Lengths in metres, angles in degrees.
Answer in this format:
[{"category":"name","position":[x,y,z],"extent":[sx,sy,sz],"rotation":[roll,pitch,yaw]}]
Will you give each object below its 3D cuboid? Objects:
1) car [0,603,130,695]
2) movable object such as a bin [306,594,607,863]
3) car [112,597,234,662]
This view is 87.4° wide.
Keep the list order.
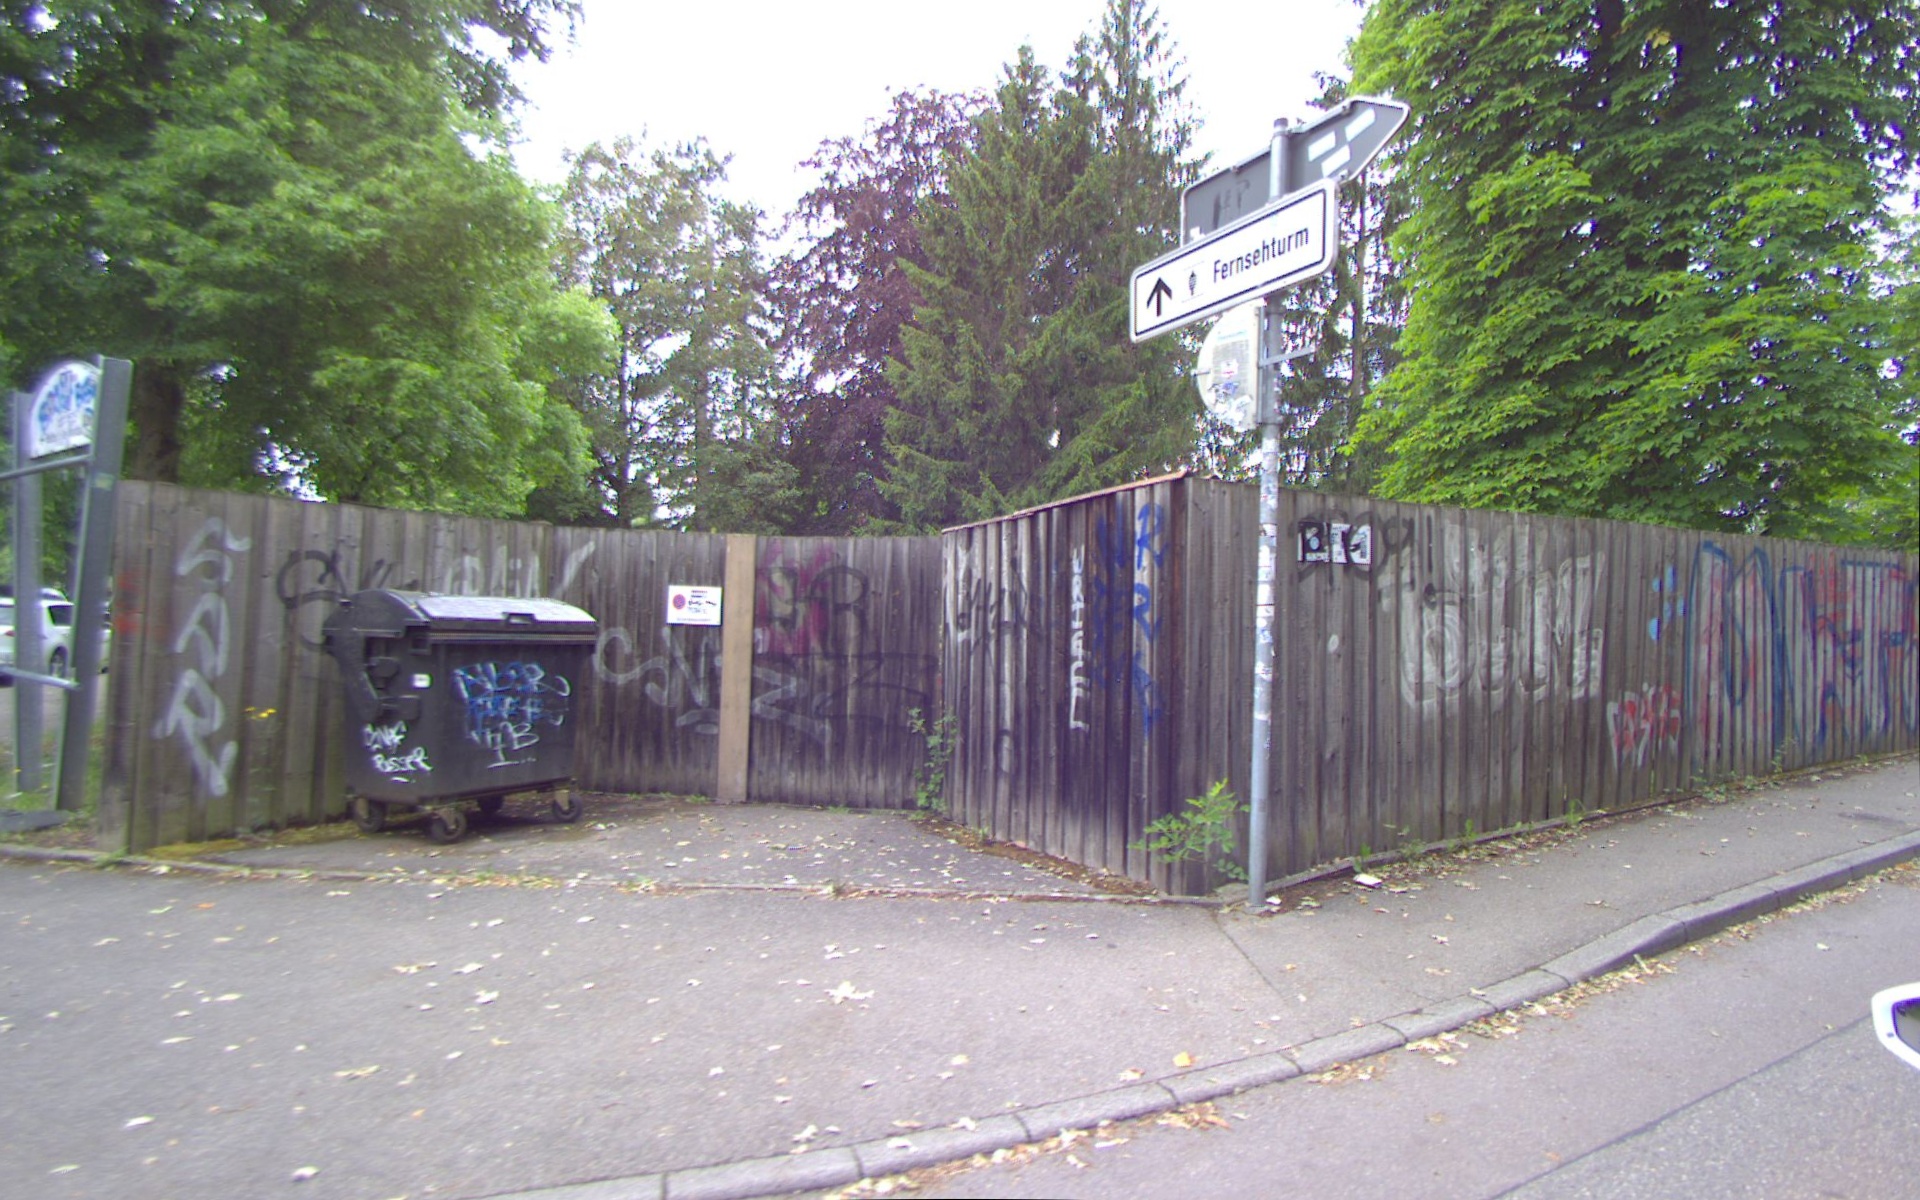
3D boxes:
[{"category":"car","position":[-16.582,0.812,17.952],"extent":[1.578,1.501,3.505],"rotation":[1,-1,-20]},{"category":"movable object such as a bin","position":[-3.086,0.722,6.275],"extent":[1.058,1.461,1.285],"rotation":[0,-2,25]},{"category":"car","position":[-19.532,0.710,25.061],"extent":[1.451,1.501,3.174],"rotation":[1,-1,-20]}]
